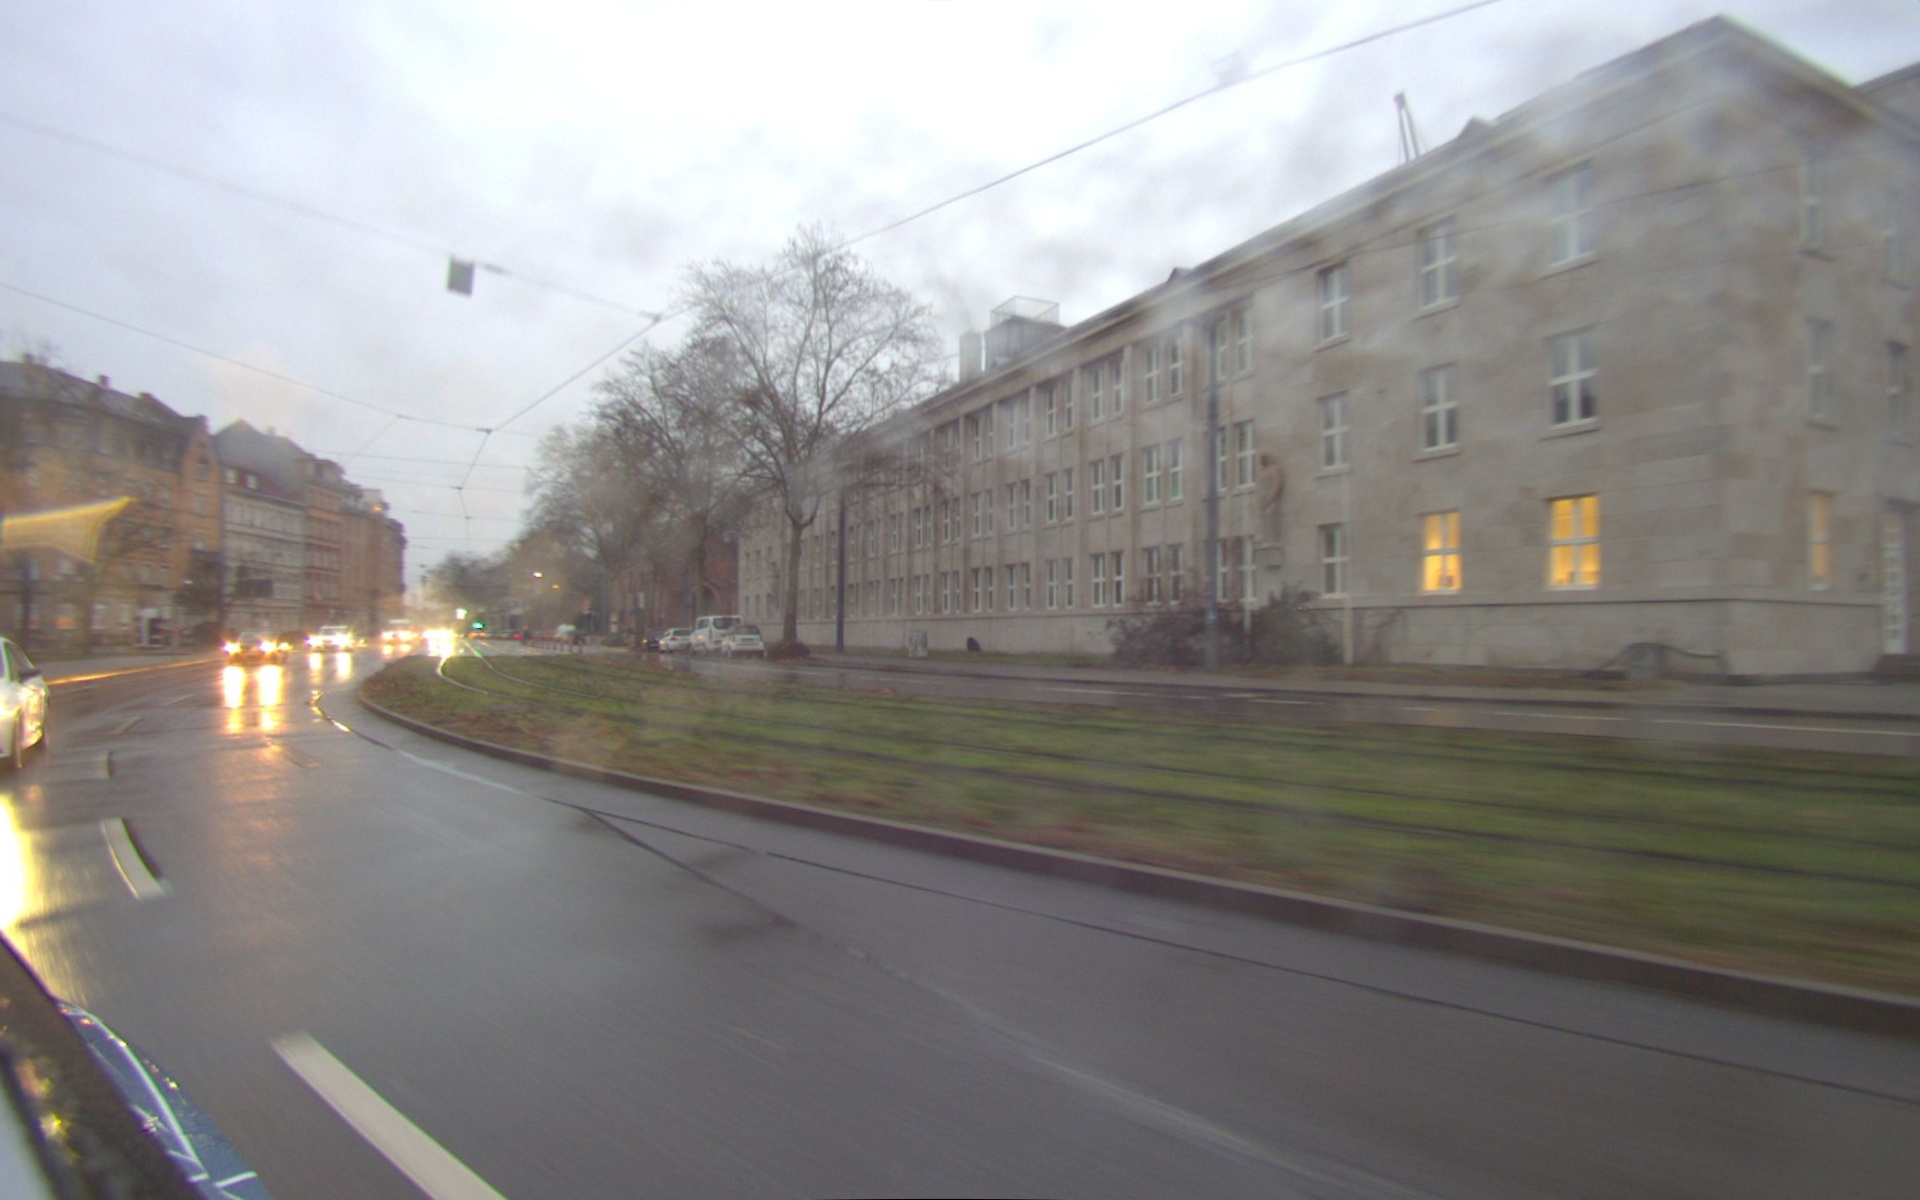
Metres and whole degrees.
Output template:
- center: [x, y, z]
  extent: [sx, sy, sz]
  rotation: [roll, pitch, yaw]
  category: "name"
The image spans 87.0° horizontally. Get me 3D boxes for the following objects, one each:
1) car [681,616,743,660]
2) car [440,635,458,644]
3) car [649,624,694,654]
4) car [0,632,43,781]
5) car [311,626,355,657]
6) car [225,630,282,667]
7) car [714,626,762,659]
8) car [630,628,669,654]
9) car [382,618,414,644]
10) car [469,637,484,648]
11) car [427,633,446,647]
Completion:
- center: [-12.524, 1.863, 50.928]
  extent: [1.965, 2.029, 4.524]
  rotation: [-1, 0, -28]
  category: "car"
- center: [-79.569, 6.135, 157.616]
  extent: [1.865, 1.424, 3.958]
  rotation: [1, -2, -15]
  category: "car"
- center: [-17.136, 2.283, 60.041]
  extent: [1.796, 1.667, 3.872]
  rotation: [-1, 0, -28]
  category: "car"
- center: [-11.157, 1.099, 10.854]
  extent: [1.689, 1.423, 3.686]
  rotation: [-1, 0, -38]
  category: "car"
- center: [-37.268, 2.442, 60.203]
  extent: [1.646, 1.672, 4.161]
  rotation: [-1, 0, -24]
  category: "car"
- center: [-28.723, 1.957, 41.226]
  extent: [1.563, 1.437, 3.143]
  rotation: [1, -2, -29]
  category: "car"
- center: [-10.334, 1.947, 46.975]
  extent: [1.534, 1.439, 2.964]
  rotation: [1, -1, -26]
  category: "car"
- center: [-20.217, 2.640, 65.797]
  extent: [1.589, 1.673, 3.621]
  rotation: [1, -2, -31]
  category: "car"
- center: [-53.420, 2.910, 96.297]
  extent: [2.094, 2.398, 5.657]
  rotation: [-1, -1, -24]
  category: "car"
- center: [-81.021, 7.169, 169.576]
  extent: [1.920, 1.829, 4.012]
  rotation: [1, -2, -20]
  category: "car"
- center: [-66.290, 5.047, 128.197]
  extent: [1.622, 1.763, 3.565]
  rotation: [1, -2, -20]
  category: "car"
